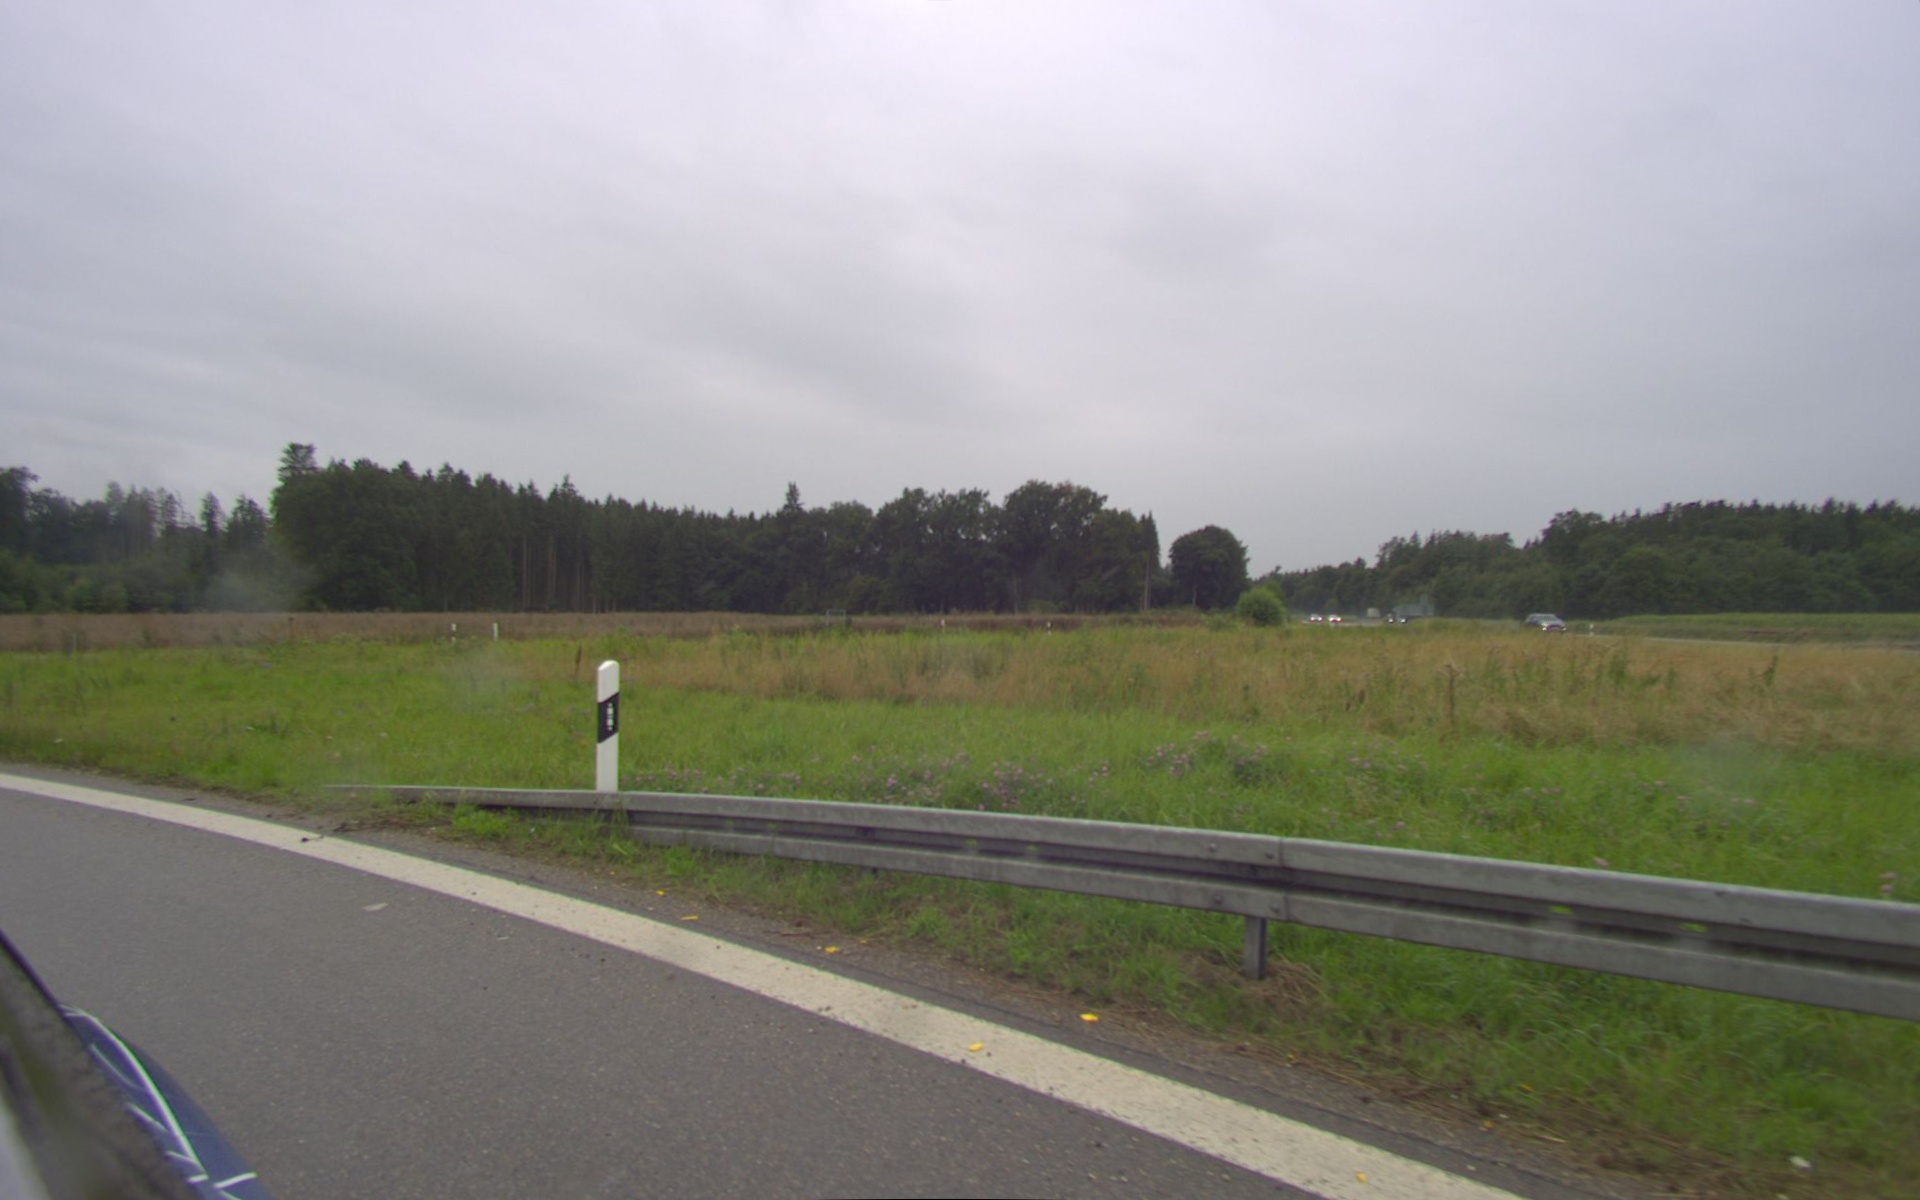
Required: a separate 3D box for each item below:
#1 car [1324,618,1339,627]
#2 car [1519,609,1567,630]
[{"bbox_3d":[71.323,4.347,194.380,2.131,1.648,4.576,1,-1,13],"label":"car"},{"bbox_3d":[47.796,1.609,83.063,1.848,1.646,5.084,0,-1,11],"label":"car"}]
